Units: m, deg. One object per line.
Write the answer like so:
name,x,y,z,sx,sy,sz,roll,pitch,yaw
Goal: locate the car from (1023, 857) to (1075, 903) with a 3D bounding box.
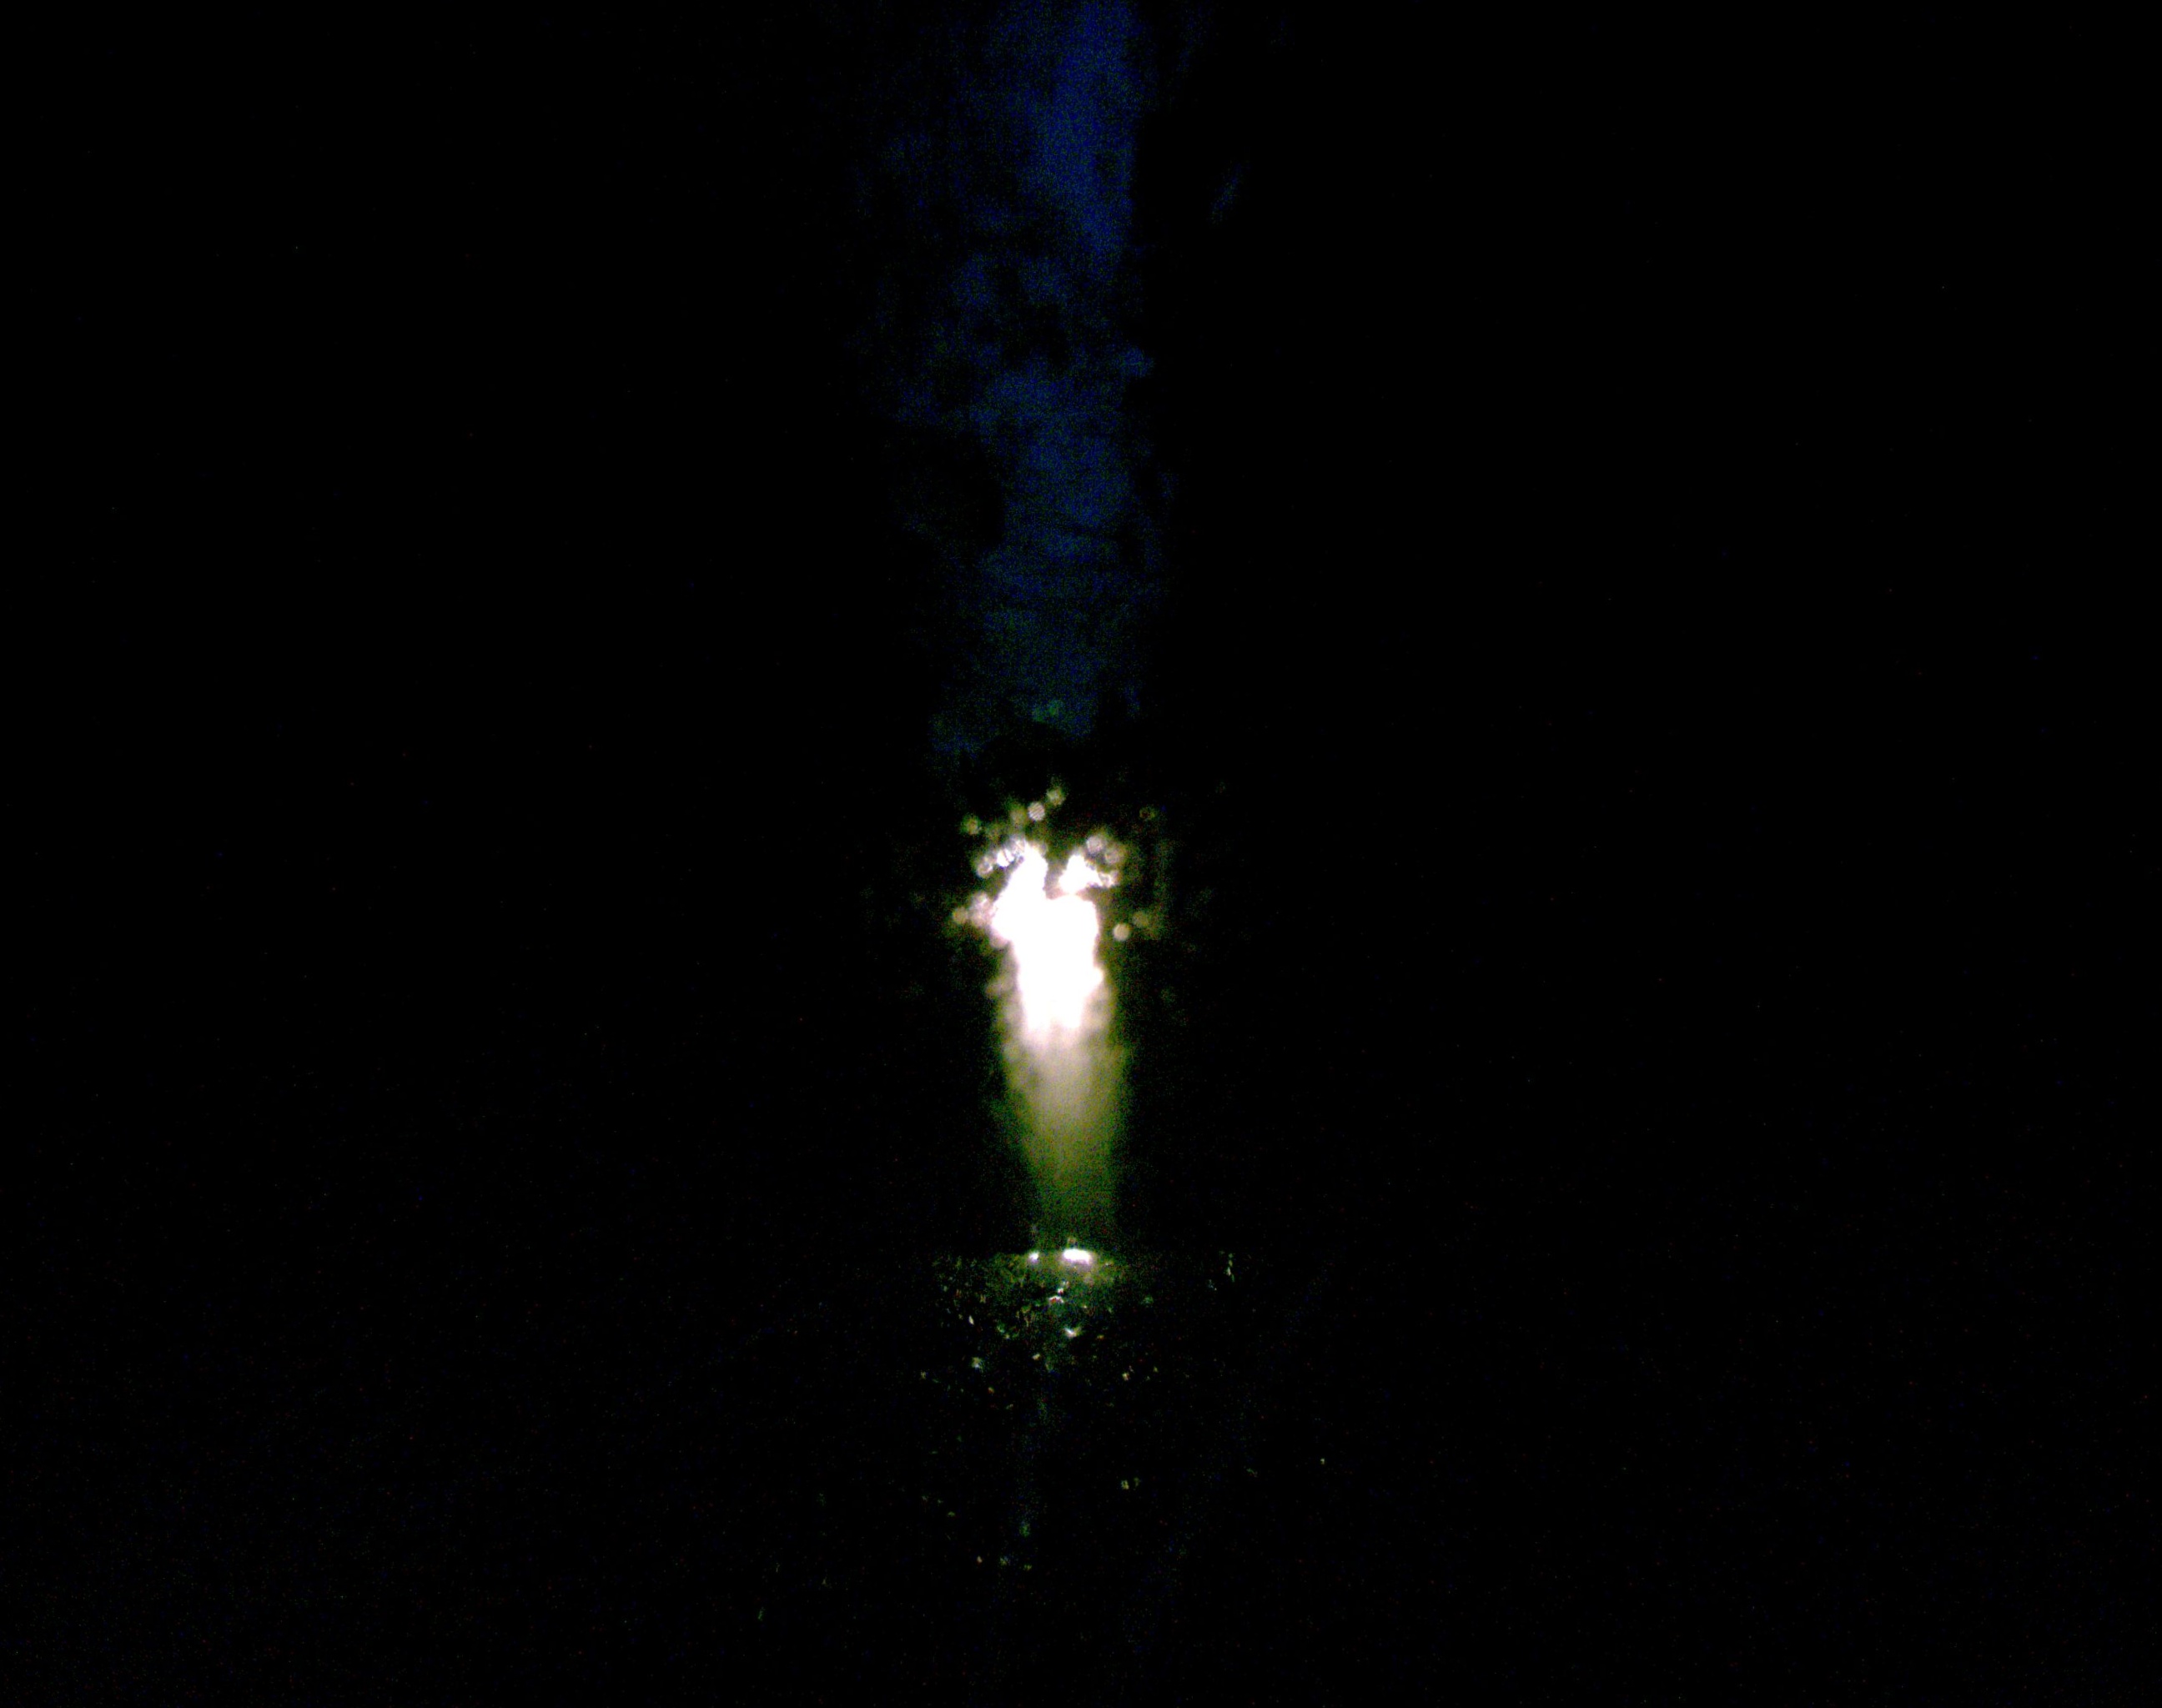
car,-1.089,0.851,26.696,1.650,1.446,3.680,-2,0,-1
